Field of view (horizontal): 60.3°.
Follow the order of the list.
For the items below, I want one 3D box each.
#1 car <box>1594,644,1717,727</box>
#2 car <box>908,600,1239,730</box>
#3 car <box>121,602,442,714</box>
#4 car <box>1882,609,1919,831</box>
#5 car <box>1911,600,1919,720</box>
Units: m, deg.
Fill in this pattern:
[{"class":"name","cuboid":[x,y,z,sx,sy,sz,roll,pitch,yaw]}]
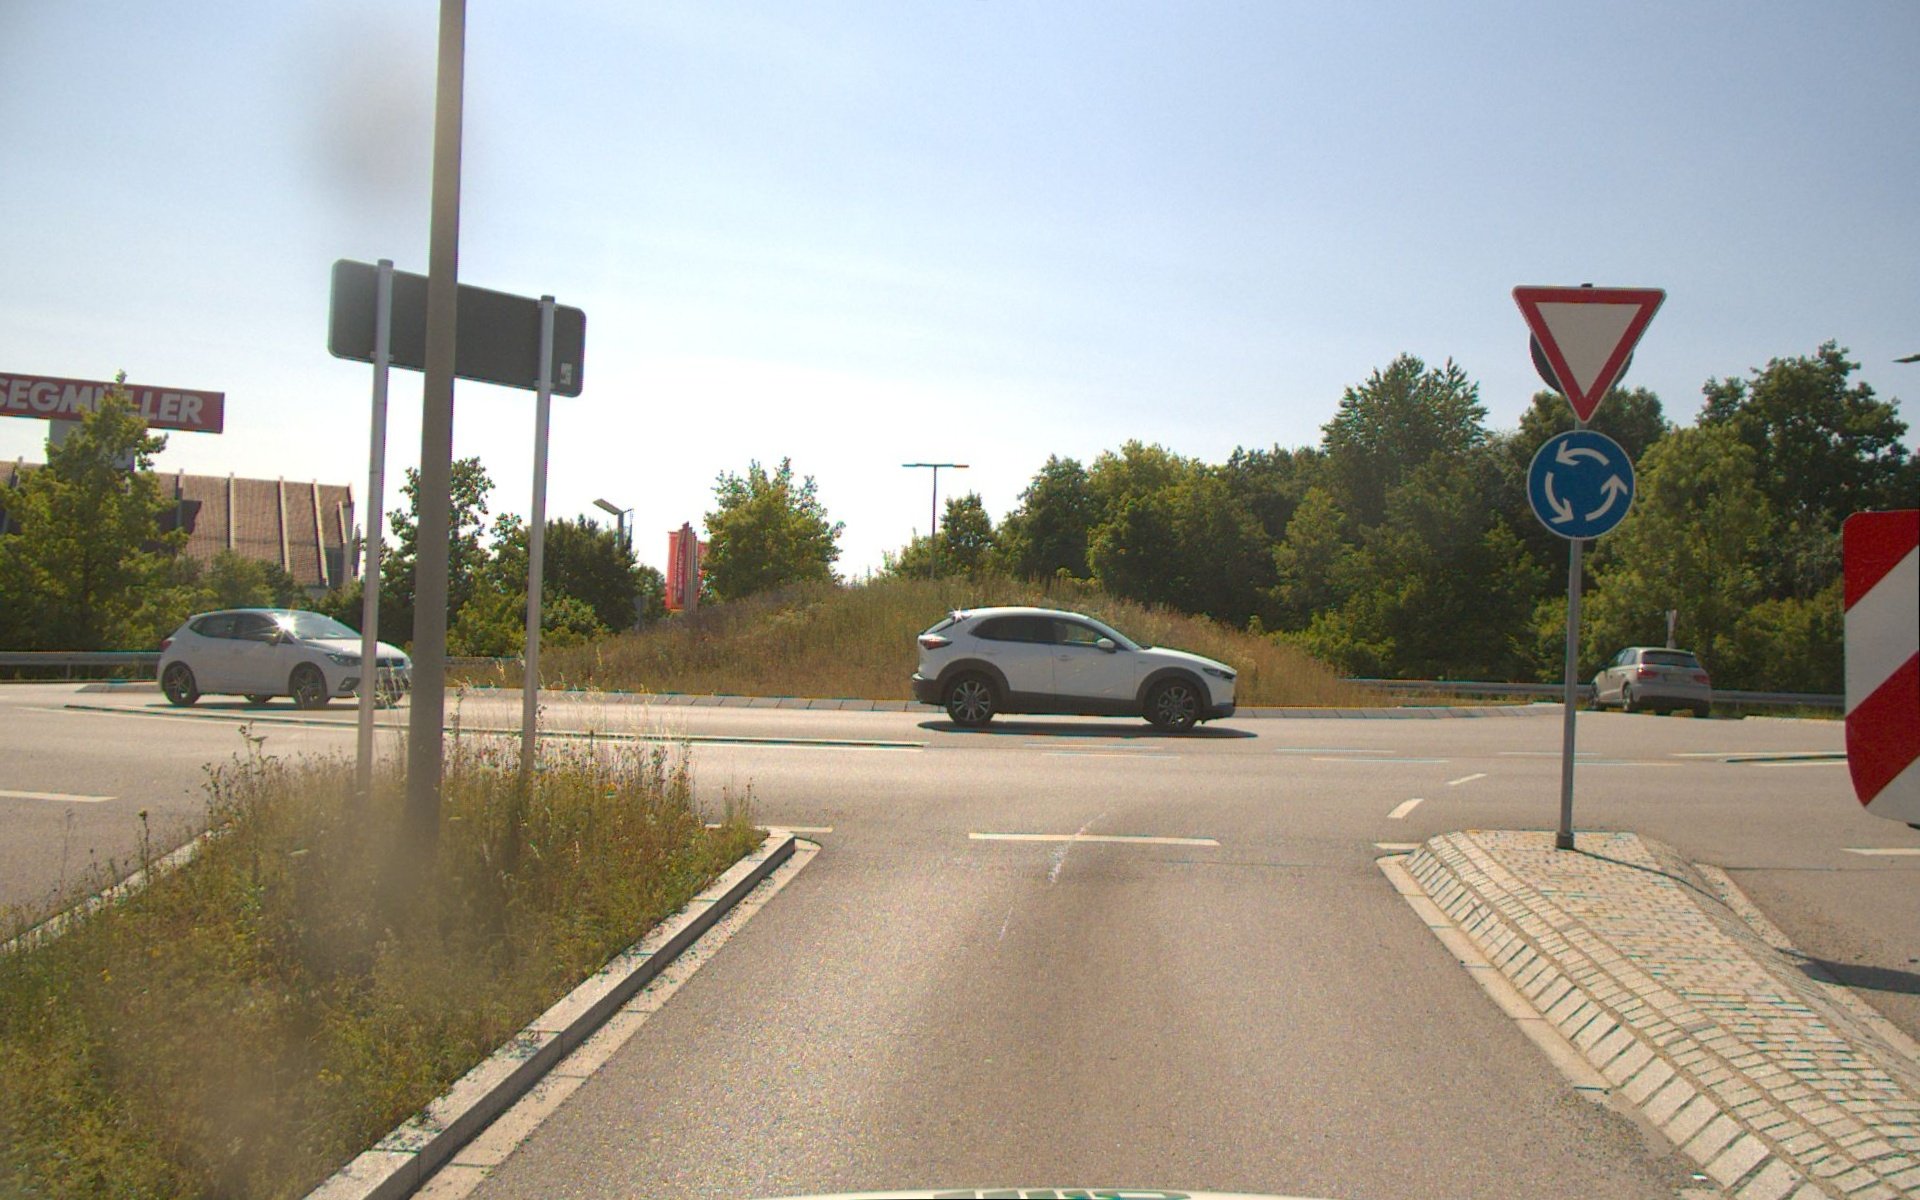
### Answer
[{"class":"car","cuboid":[15.000,1.797,35.872,1.738,1.624,4.003,2,-1,13]},{"class":"car","cuboid":[1.500,0.837,21.933,4.184,1.557,1.792,1,-1,4]},{"class":"car","cuboid":[-10.187,0.839,24.857,4.311,1.429,1.792,2,-1,19]},{"class":"car","cuboid":[7.626,0.877,10.952,1.802,1.624,4.326,1,-1,18]},{"class":"car","cuboid":[13.201,0.771,18.909,4.258,1.375,1.565,2,-1,-17]}]
